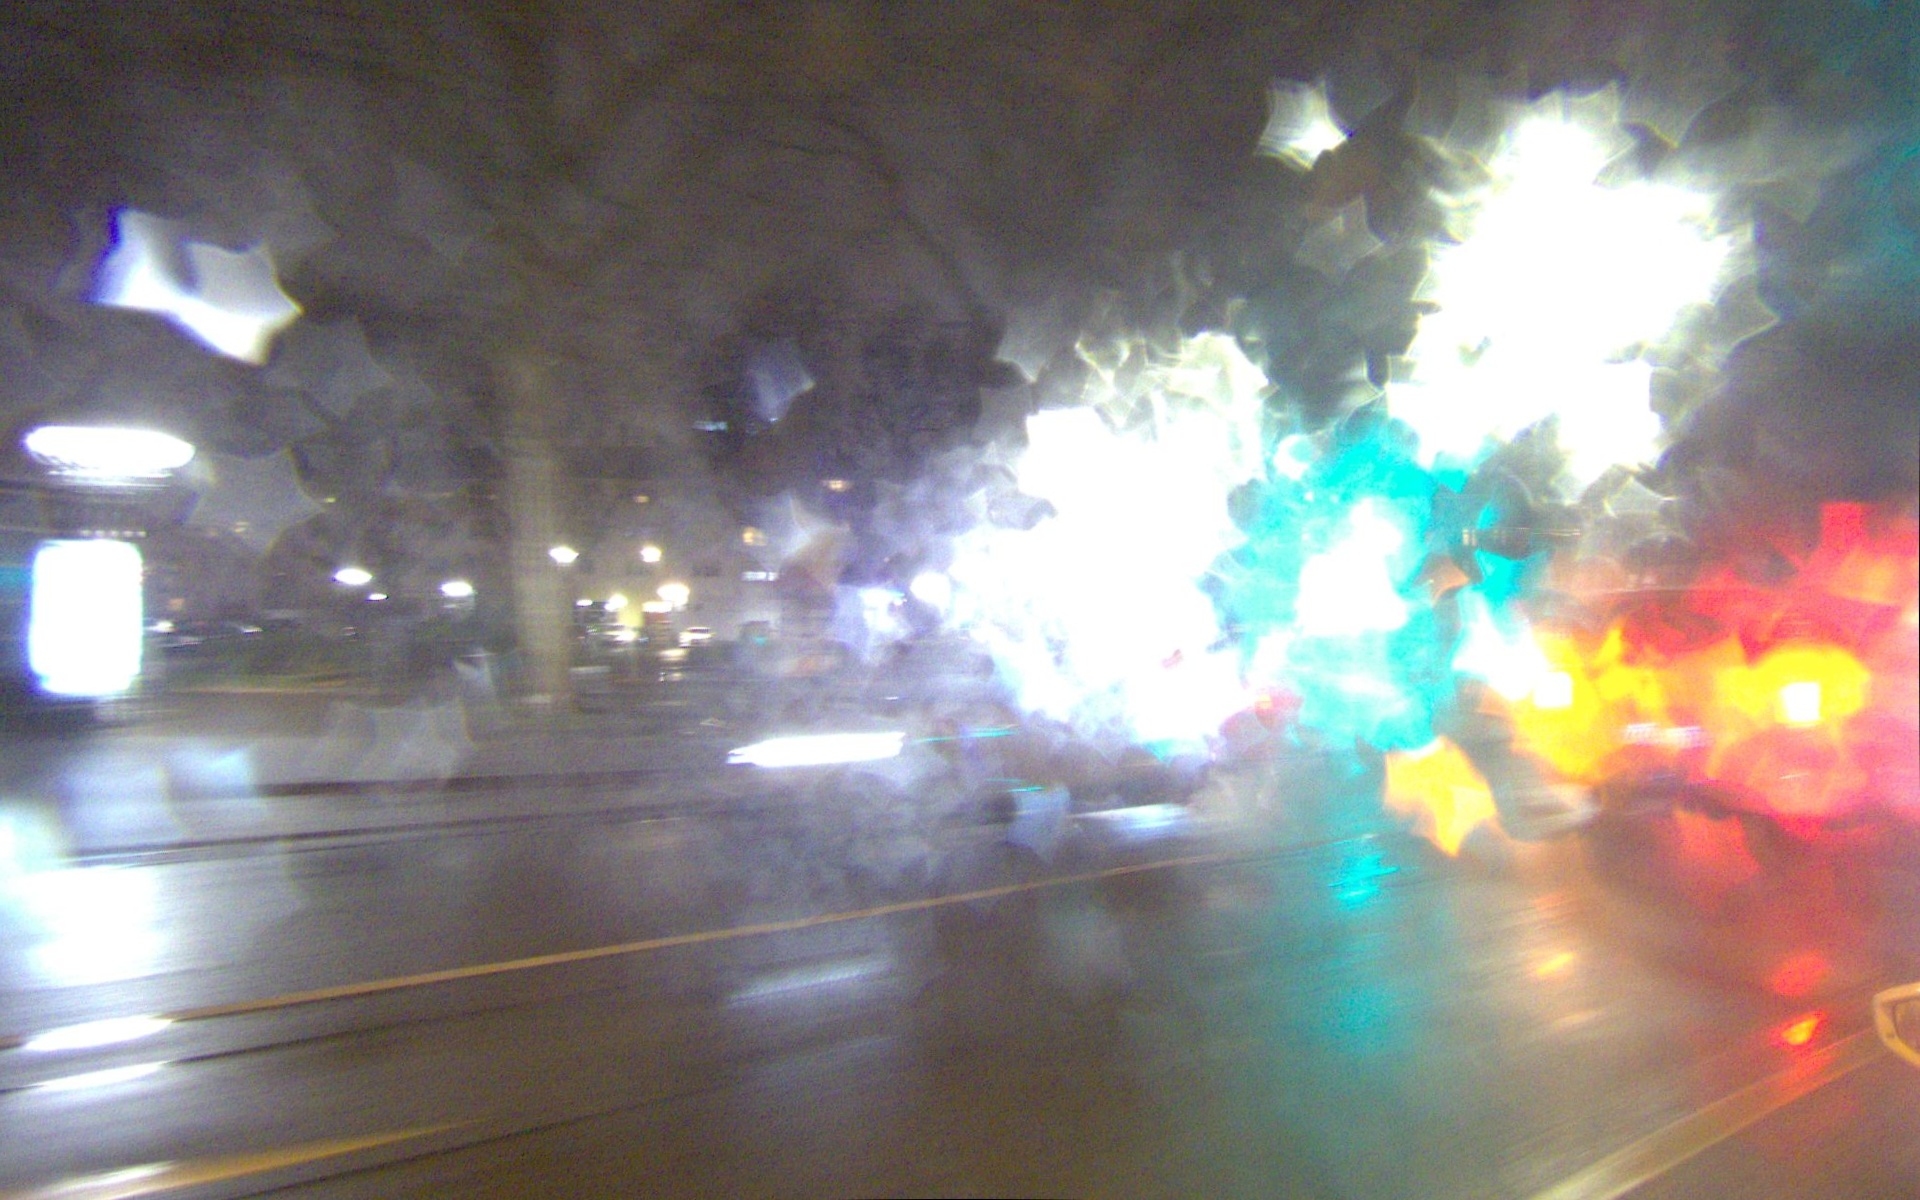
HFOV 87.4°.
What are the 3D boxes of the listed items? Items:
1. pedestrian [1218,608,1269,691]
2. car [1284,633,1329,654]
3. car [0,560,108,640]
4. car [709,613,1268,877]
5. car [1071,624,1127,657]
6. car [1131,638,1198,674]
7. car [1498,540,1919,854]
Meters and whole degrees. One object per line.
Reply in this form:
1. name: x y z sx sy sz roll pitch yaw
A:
1. pedestrian: 6.221 1.081 22.065 0.950 1.759 0.771 1 -1 6
2. car: 31.669 3.986 91.908 2.051 1.804 4.325 1 -2 -11
3. car: -33.982 -0.004 36.511 4.275 2.767 1.717 1 -1 -8
4. car: 0.325 0.925 7.656 4.064 1.531 1.637 1 -3 -33
5. car: 7.768 2.258 56.649 1.863 1.766 4.733 1 -2 -8
6. car: 9.988 2.708 49.317 1.863 1.590 4.328 1 -2 -8
7. car: 7.113 0.694 8.495 5.136 1.979 2.026 1 -3 -29
